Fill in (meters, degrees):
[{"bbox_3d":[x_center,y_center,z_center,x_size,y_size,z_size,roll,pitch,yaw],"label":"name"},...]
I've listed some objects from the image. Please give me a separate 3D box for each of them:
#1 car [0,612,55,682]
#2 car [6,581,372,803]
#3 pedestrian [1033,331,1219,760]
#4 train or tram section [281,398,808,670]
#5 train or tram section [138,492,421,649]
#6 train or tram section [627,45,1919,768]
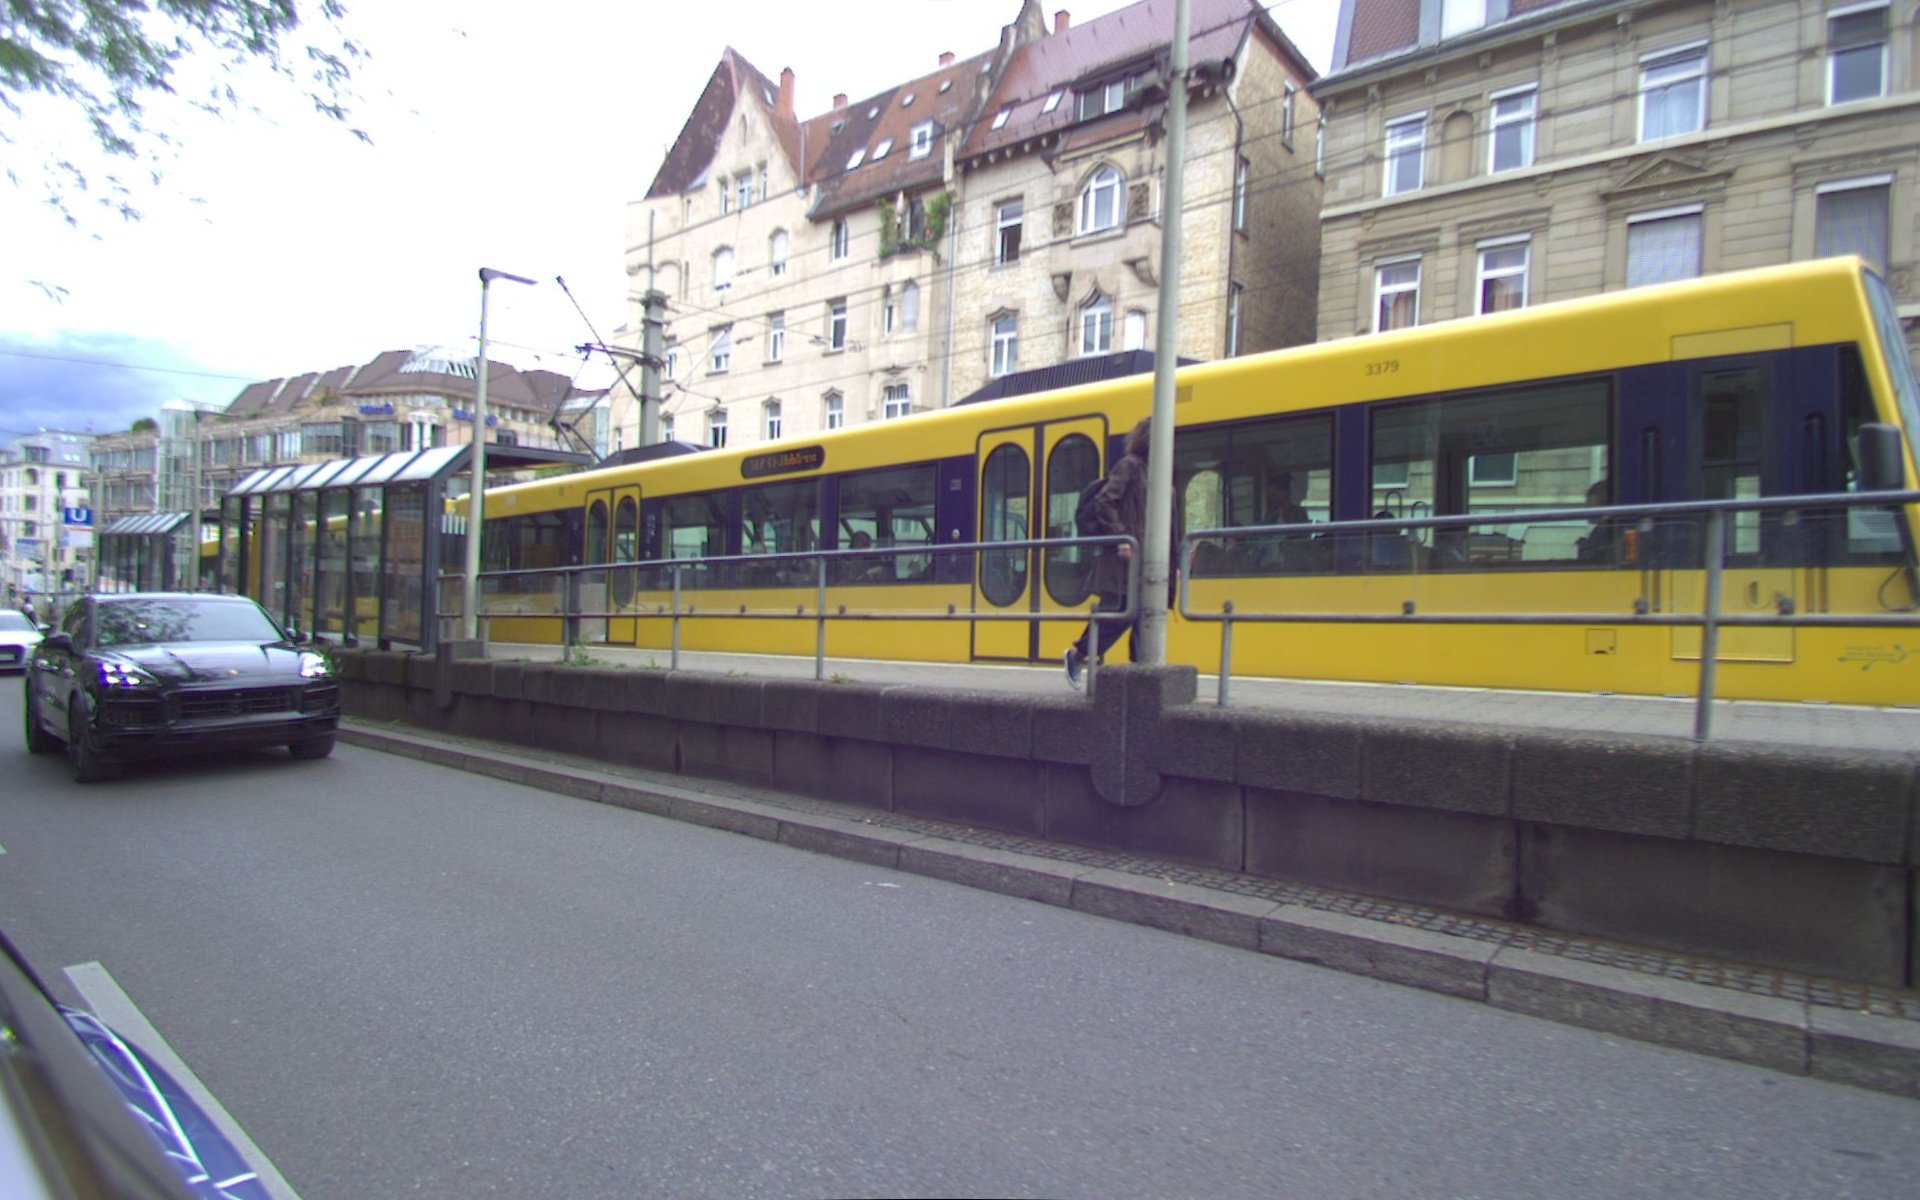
[{"bbox_3d":[-22.317,1.043,23.153,4.529,1.486,1.872,-1,-1,41],"label":"car"},{"bbox_3d":[-7.847,0.740,10.105,4.779,1.698,2.006,-1,-1,41],"label":"car"},{"bbox_3d":[0.991,-0.283,5.990,0.772,2.302,0.827,-1,-2,41],"label":"pedestrian"},{"bbox_3d":[-8.577,-0.780,18.634,14.222,3.467,2.852,-1,0,41],"label":"train or tram section"},{"bbox_3d":[-19.330,-0.580,27.999,14.222,3.445,2.852,-1,0,41],"label":"train or tram section"},{"bbox_3d":[2.117,-0.923,9.263,14.222,3.585,2.892,-1,0,41],"label":"train or tram section"}]
